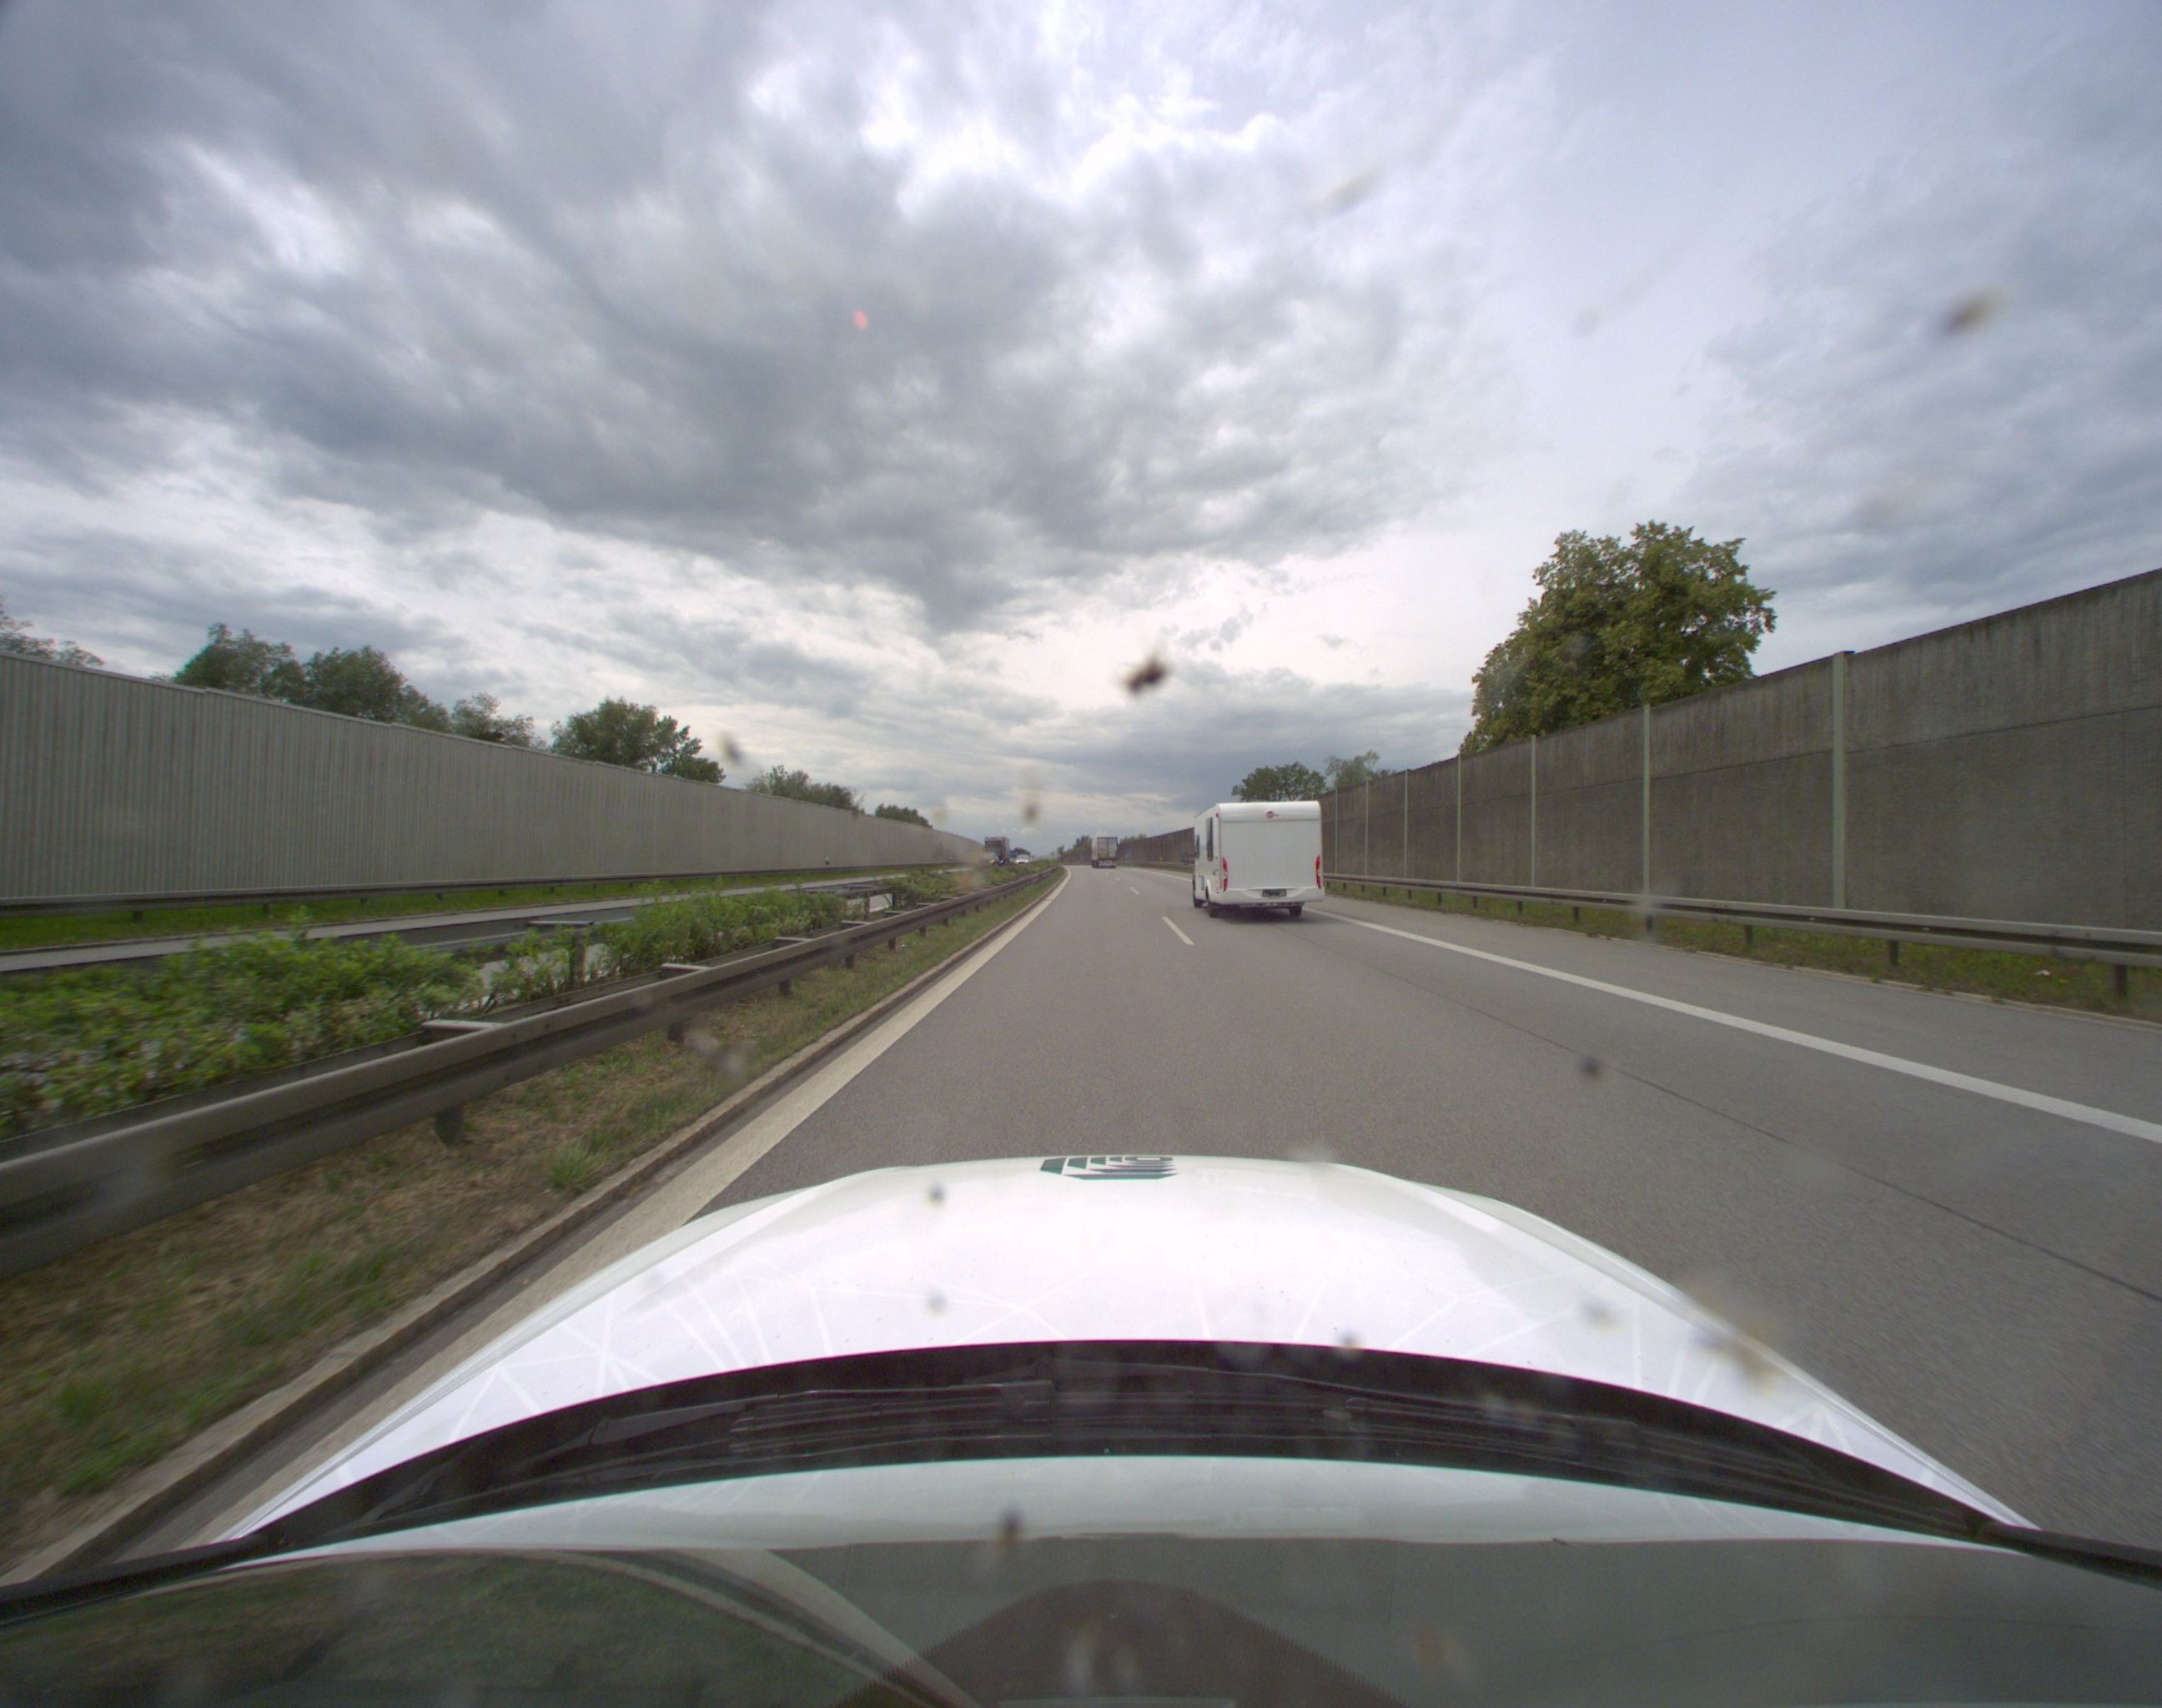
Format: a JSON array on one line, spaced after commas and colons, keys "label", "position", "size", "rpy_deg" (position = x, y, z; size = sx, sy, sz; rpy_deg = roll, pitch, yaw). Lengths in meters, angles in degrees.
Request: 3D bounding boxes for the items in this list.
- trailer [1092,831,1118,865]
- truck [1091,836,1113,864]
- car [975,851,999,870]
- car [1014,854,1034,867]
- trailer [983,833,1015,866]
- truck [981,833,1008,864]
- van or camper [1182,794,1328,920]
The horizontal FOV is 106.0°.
[{"label": "trailer", "position": [3.182, -0.668, 111.024], "size": [2.785, 4.175, 14.094], "rpy_deg": [-1, -1, -1]}, {"label": "truck", "position": [3.025, -0.528, 117.587], "size": [2.749, 3.960, 5.672], "rpy_deg": [-1, -1, -2]}, {"label": "car", "position": [-8.352, 0.595, 72.876], "size": [1.711, 1.642, 4.701], "rpy_deg": [0, 0, -2]}, {"label": "car", "position": [-6.663, 0.728, 95.444], "size": [1.924, 1.549, 4.567], "rpy_deg": [0, 0, 1]}, {"label": "trailer", "position": [-11.086, -0.527, 111.414], "size": [2.972, 4.240, 14.174], "rpy_deg": [-1, 0, -1]}, {"label": "truck", "position": [-11.032, -0.697, 104.478], "size": [2.865, 3.859, 6.072], "rpy_deg": [0, 0, -1]}, {"label": "van or camper", "position": [4.174, 0.080, 21.090], "size": [2.420, 2.696, 7.227], "rpy_deg": [0, 0, 1]}]
